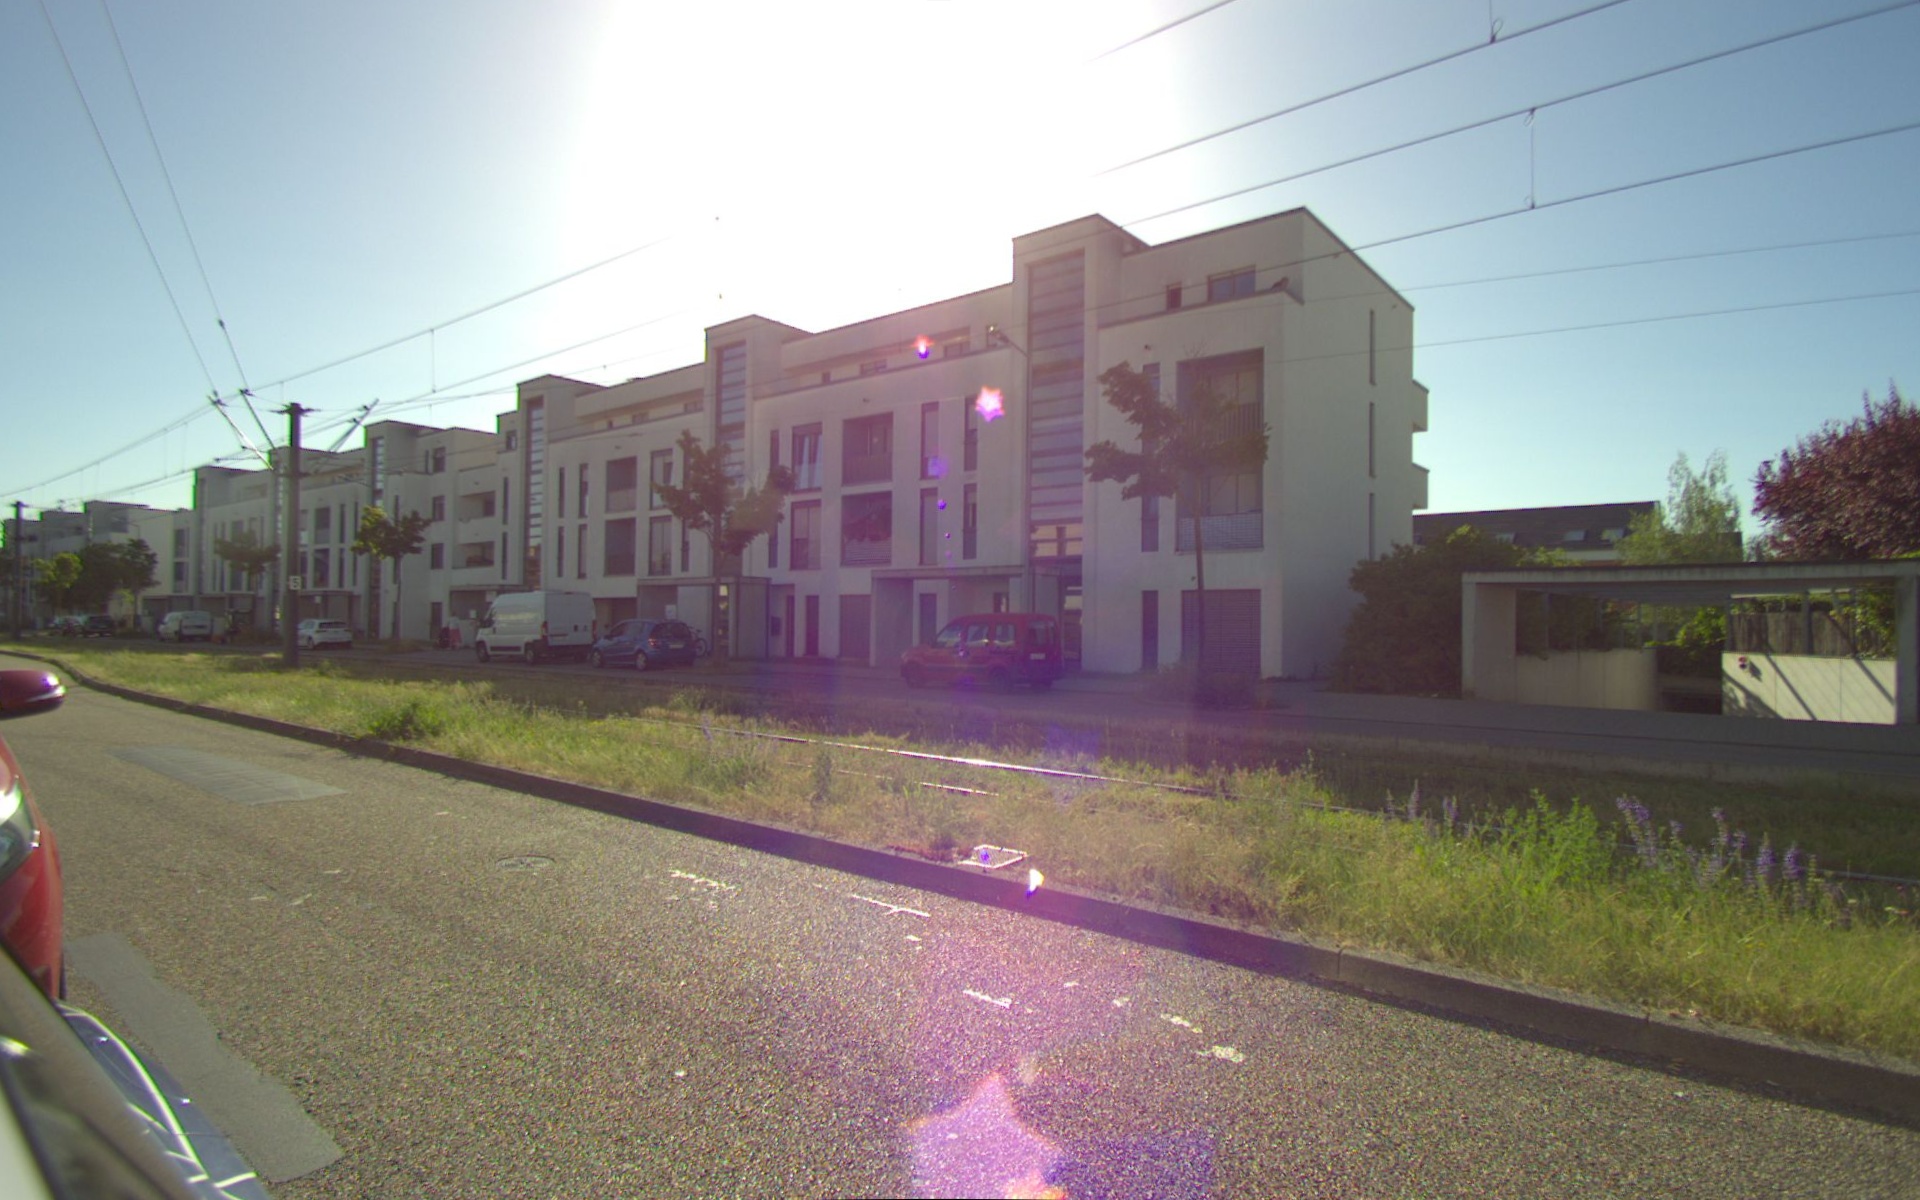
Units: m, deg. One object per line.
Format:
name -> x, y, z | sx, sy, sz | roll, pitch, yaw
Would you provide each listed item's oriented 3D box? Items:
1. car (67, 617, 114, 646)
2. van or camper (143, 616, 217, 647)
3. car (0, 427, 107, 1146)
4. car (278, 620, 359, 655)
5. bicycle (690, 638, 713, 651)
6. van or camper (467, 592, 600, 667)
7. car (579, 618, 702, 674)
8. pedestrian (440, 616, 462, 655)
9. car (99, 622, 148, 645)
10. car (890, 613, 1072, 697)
car -> -63.000, 2.273, 73.310 | 3.993, 2.029, 1.766 | -1, 0, 37
van or camper -> -47.978, 1.892, 62.227 | 6.279, 1.862, 2.244 | -1, -1, 39
car -> -5.101, 0.560, 3.850 | 5.081, 1.984, 2.100 | -1, 0, 41
car -> -31.052, 1.794, 48.985 | 4.115, 1.598, 2.022 | -1, -2, 38
bicycle -> -10.401, 1.802, 40.687 | 1.060, 0.502, 0.349 | -1, -3, 40
van or camper -> -15.192, 1.026, 35.917 | 5.256, 2.484, 2.170 | -1, -2, 40
car -> -10.002, 1.407, 31.587 | 3.833, 1.625, 1.910 | -1, -2, 40
pedestrian -> -22.276, 1.548, 44.267 | 0.611, 1.656, 0.612 | -1, 0, 33
car -> -56.890, 2.257, 68.820 | 3.491, 1.449, 1.845 | -2, -1, 37
car -> 0.423, 1.191, 22.928 | 3.907, 1.736, 1.770 | -1, -3, 42
